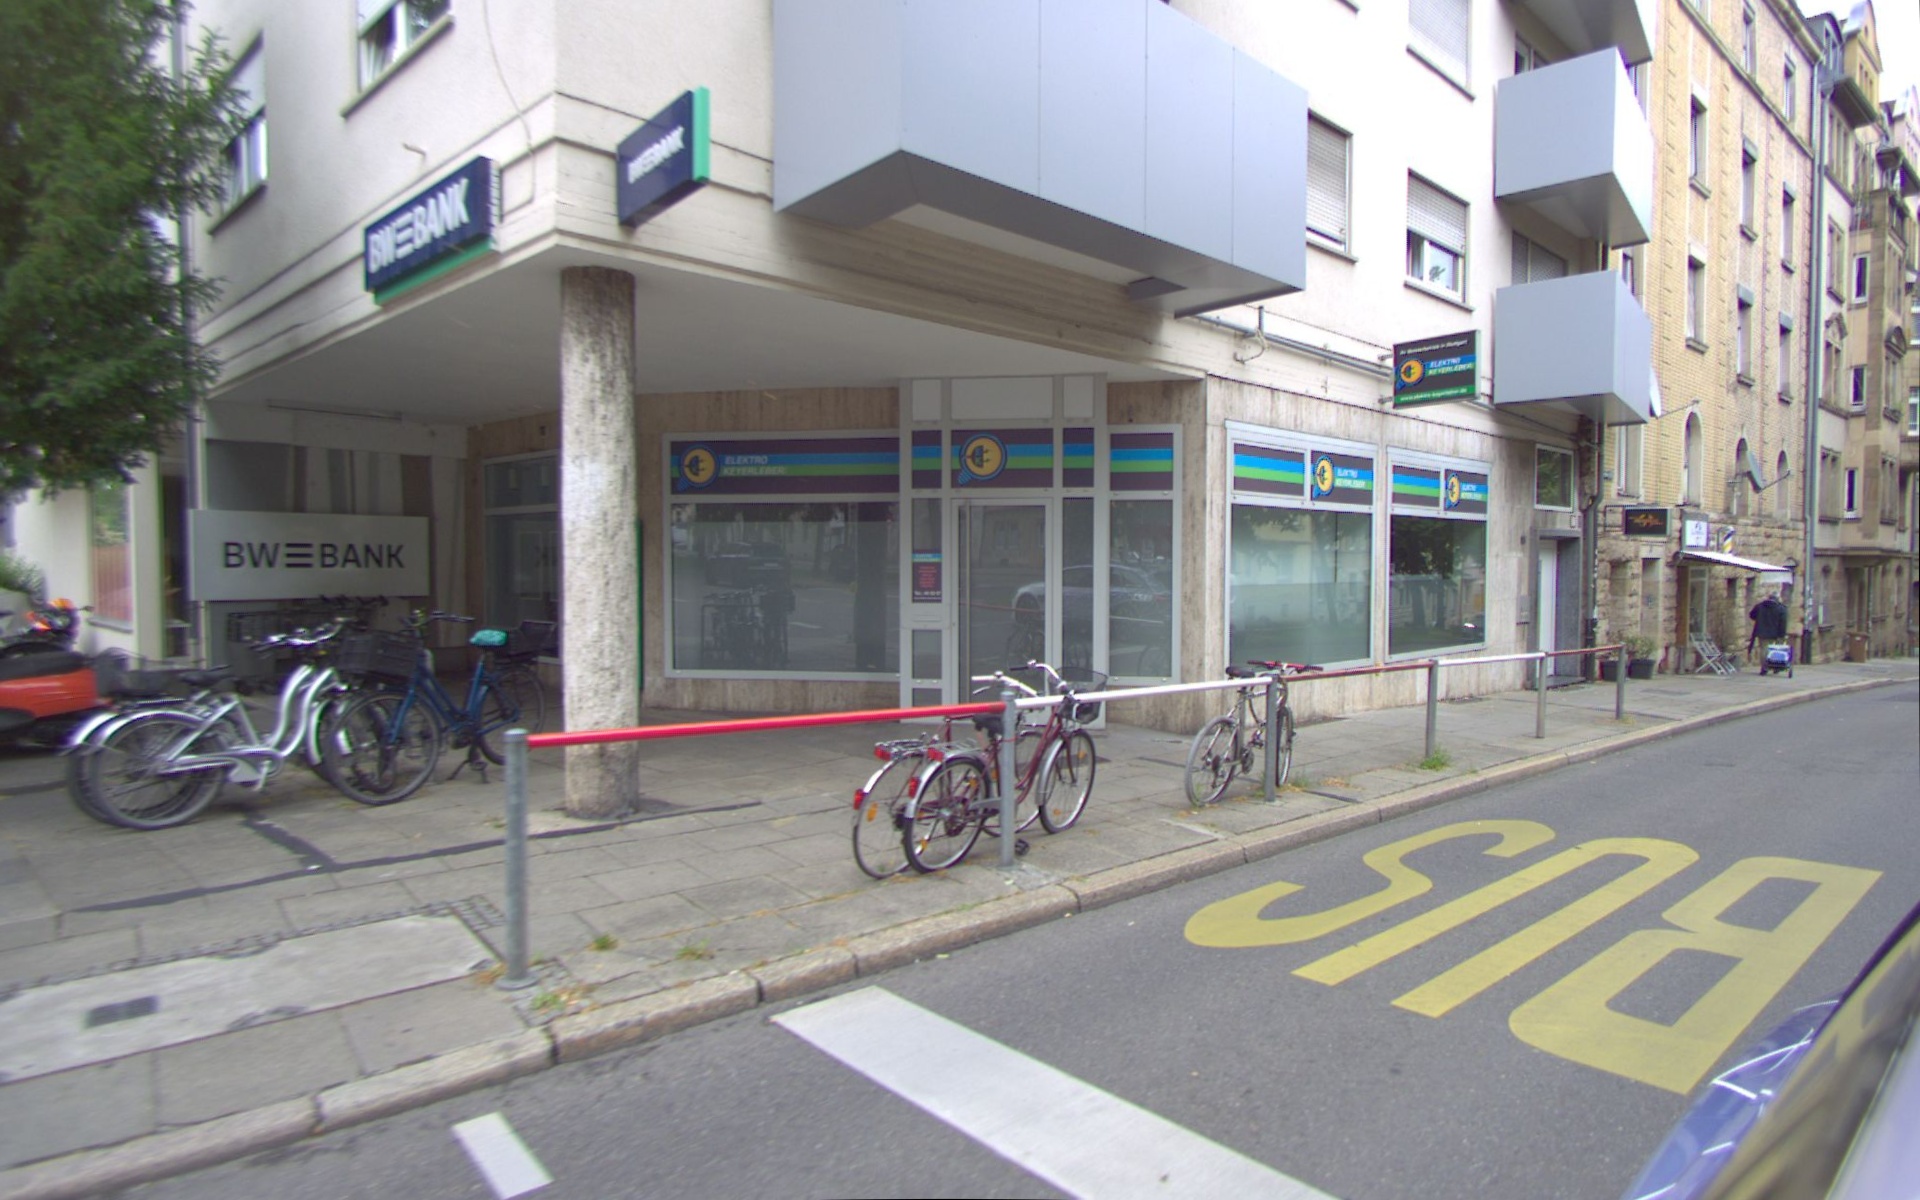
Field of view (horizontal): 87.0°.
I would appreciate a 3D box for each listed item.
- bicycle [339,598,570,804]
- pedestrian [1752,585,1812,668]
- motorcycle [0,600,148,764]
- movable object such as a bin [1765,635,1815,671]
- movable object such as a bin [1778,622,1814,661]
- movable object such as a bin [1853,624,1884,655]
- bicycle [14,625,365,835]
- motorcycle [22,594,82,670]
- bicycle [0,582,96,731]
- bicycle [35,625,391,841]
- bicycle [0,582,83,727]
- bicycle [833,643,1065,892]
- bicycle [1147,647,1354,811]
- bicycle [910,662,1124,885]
[{"bbox_3d":[-3.413,0.612,7.014,0.315,1.213,1.751,0,1,17],"label":"bicycle"},{"bbox_3d":[17.637,0.555,21.712,0.843,1.713,0.753,2,2,-39],"label":"pedestrian"},{"bbox_3d":[-6.915,0.577,7.188,1.770,1.119,0.571,-1,1,-41],"label":"motorcycle"},{"bbox_3d":[17.163,1.080,20.920,0.843,0.677,0.609,2,2,-39],"label":"movable object such as a bin"},{"bbox_3d":[21.020,1.036,25.444,0.494,0.915,0.596,-3,3,-38],"label":"movable object such as a bin"},{"bbox_3d":[27.550,1.197,30.695,0.552,0.915,0.596,1,0,-38],"label":"movable object such as a bin"},{"bbox_3d":[-4.664,0.720,6.280,0.316,1.056,1.741,0,1,31],"label":"bicycle"},{"bbox_3d":[-14.523,0.475,16.174,1.796,1.127,0.563,1,1,43],"label":"motorcycle"},{"bbox_3d":[-8.133,0.462,7.780,0.275,1.202,2.303,0,1,30],"label":"bicycle"},{"bbox_3d":[-4.399,0.717,6.115,0.316,1.056,1.741,0,1,31],"label":"bicycle"},{"bbox_3d":[-8.366,0.459,7.921,0.275,1.202,2.303,0,1,30],"label":"bicycle"},{"bbox_3d":[0.011,0.819,5.522,0.285,1.067,1.738,0,1,36],"label":"bicycle"},{"bbox_3d":[2.116,0.863,7.253,1.744,0.943,0.570,-1,1,-41],"label":"bicycle"},{"bbox_3d":[0.381,0.879,5.635,0.285,0.943,1.738,0,1,36],"label":"bicycle"}]
